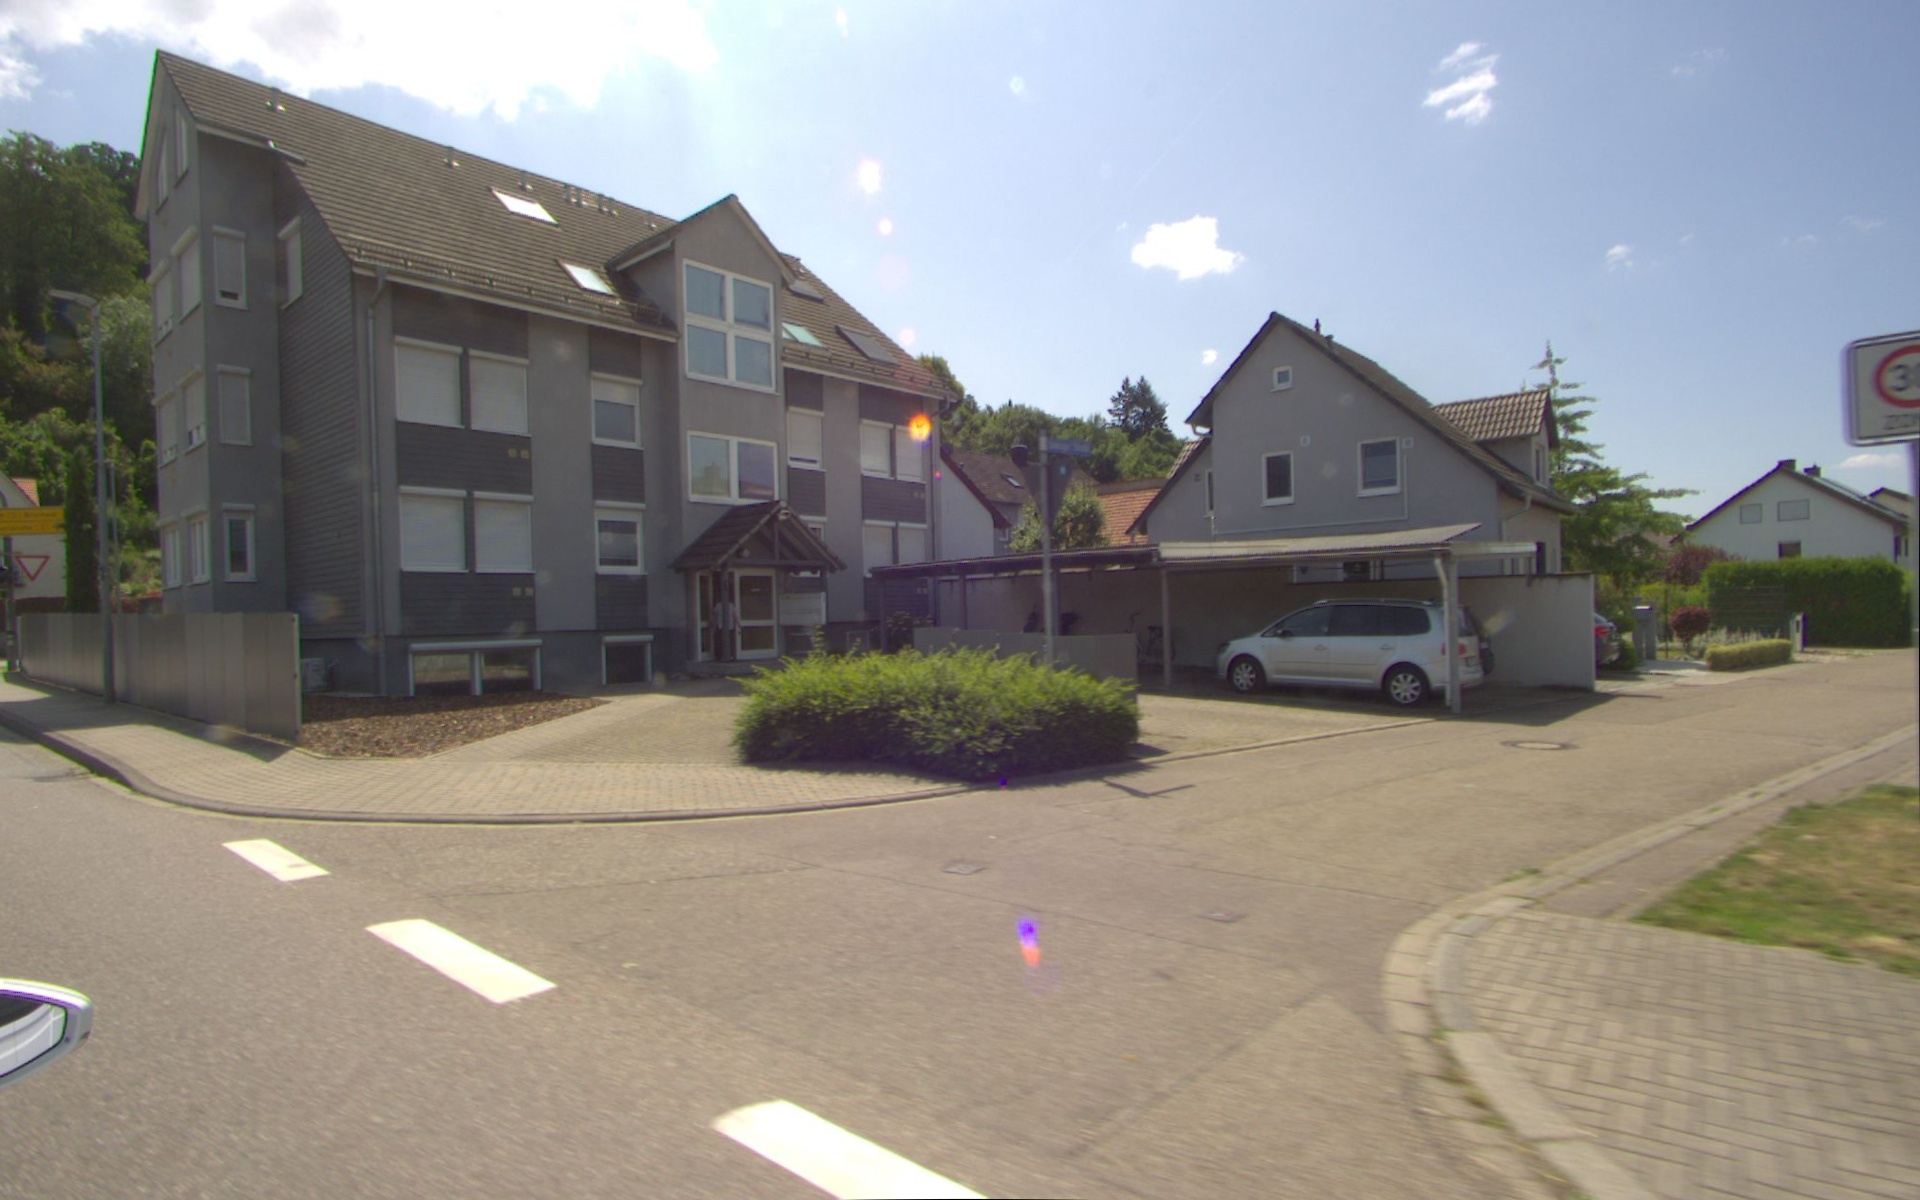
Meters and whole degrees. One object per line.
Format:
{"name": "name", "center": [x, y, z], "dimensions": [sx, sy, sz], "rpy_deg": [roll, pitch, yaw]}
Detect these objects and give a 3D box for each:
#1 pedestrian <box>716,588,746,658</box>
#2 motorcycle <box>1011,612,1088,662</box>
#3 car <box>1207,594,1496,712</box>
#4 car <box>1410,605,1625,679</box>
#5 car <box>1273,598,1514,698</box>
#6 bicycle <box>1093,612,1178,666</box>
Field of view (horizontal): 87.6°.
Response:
{"name": "pedestrian", "center": [-5.102, 0.506, 22.300], "dimensions": [0.528, 1.549, 0.480], "rpy_deg": [-1, 0, -31]}
{"name": "motorcycle", "center": [2.246, 0.912, 25.342], "dimensions": [1.930, 1.179, 0.644], "rpy_deg": [1, 1, 42]}
{"name": "car", "center": [6.452, 0.770, 16.776], "dimensions": [4.166, 1.671, 1.728], "rpy_deg": [1, 2, 41]}
{"name": "car", "center": [12.210, 0.875, 22.012], "dimensions": [3.949, 1.490, 1.802], "rpy_deg": [-1, 0, 37]}
{"name": "car", "center": [8.042, 0.807, 18.755], "dimensions": [3.808, 1.609, 1.728], "rpy_deg": [1, 2, 41]}
{"name": "bicycle", "center": [4.129, 0.898, 23.688], "dimensions": [1.930, 1.188, 0.644], "rpy_deg": [1, 1, 42]}
